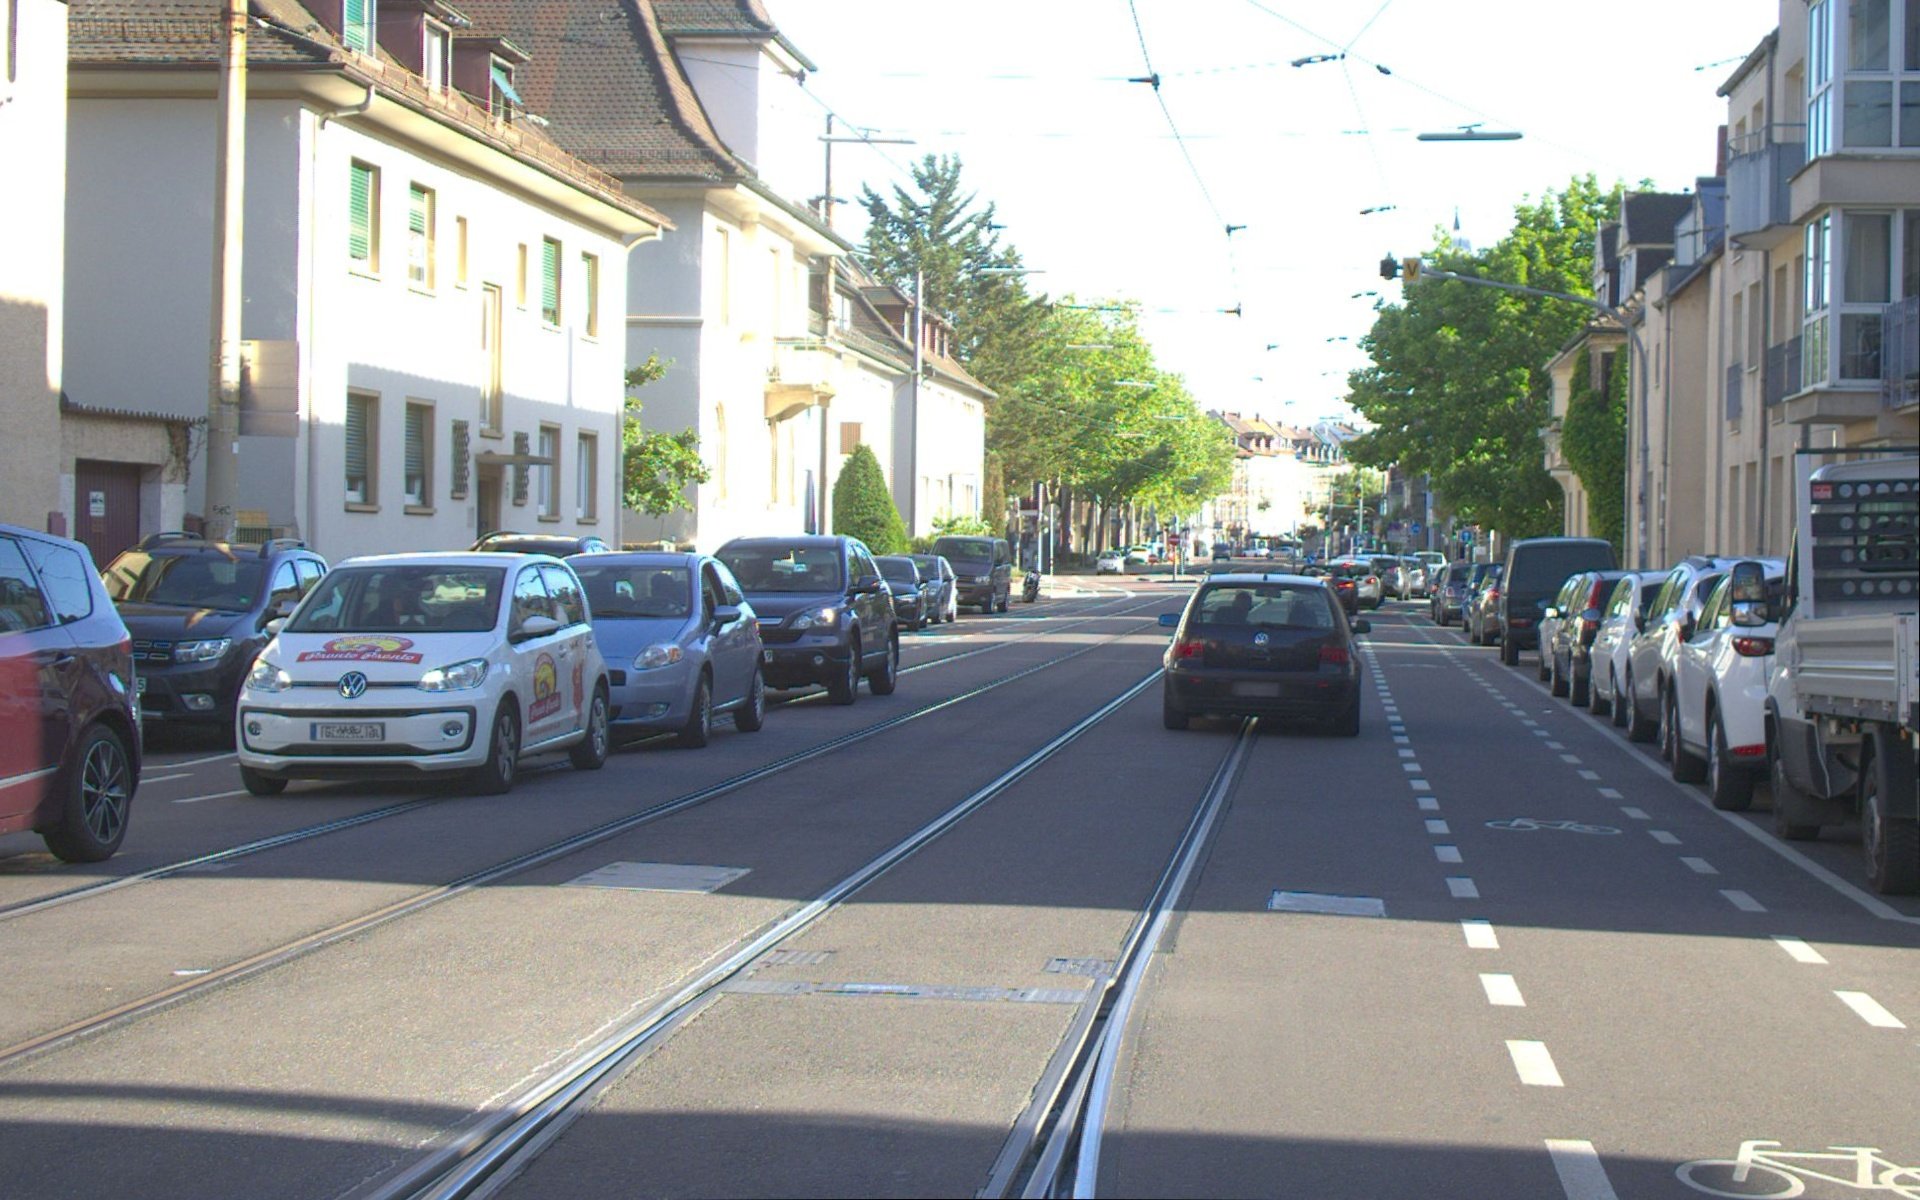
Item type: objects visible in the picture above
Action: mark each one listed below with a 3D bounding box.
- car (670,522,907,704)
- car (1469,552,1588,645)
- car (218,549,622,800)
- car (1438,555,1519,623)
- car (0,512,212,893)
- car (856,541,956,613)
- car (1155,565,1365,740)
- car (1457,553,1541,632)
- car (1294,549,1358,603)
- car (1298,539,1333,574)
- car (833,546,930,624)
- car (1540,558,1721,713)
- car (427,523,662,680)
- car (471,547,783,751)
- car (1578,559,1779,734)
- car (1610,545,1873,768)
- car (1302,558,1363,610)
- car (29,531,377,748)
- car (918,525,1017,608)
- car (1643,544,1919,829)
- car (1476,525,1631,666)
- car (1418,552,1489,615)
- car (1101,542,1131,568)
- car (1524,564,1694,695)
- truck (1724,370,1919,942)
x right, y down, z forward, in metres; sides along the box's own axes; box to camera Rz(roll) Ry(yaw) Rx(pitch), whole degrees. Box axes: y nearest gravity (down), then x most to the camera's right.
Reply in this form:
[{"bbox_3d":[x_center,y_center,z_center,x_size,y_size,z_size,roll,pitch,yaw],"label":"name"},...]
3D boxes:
[{"bbox_3d":[-1.654,0.095,34.602,1.704,1.699,4.363,1,1,6],"label":"car"},{"bbox_3d":[10.642,-0.063,64.617,1.744,1.593,4.433,3,1,4],"label":"car"},{"bbox_3d":[-3.327,0.409,21.820,1.583,1.456,3.612,0,1,7],"label":"car"},{"bbox_3d":[12.519,-0.277,83.142,1.602,1.520,3.549,3,1,4],"label":"car"},{"bbox_3d":[-4.918,0.433,14.559,1.739,1.605,4.712,0,1,10],"label":"car"},{"bbox_3d":[-1.160,-0.528,75.872,1.677,1.472,3.834,3,1,6],"label":"car"},{"bbox_3d":[2.745,0.416,30.964,1.716,1.398,4.005,2,1,6],"label":"car"},{"bbox_3d":[11.655,-0.189,74.410,1.457,1.593,3.294,3,1,4],"label":"car"},{"bbox_3d":[9.845,-0.659,92.254,1.635,1.367,3.756,1,1,7],"label":"car"},{"bbox_3d":[20.312,-2.513,196.699,1.787,1.853,4.000,4,1,4],"label":"car"},{"bbox_3d":[-1.550,-0.321,69.166,1.663,1.472,4.250,1,1,2],"label":"car"},{"bbox_3d":[7.434,0.352,38.370,1.554,1.552,3.652,3,1,5],"label":"car"},{"bbox_3d":[-4.709,-0.011,39.617,1.762,1.699,4.555,0,1,5],"label":"car"},{"bbox_3d":[-2.503,0.328,26.745,1.618,1.456,4.074,0,1,6],"label":"car"},{"bbox_3d":[7.069,0.416,34.068,1.497,1.552,3.364,3,1,5],"label":"car"},{"bbox_3d":[6.607,0.418,29.414,1.603,1.694,3.989,3,1,5],"label":"car"},{"bbox_3d":[11.037,-0.492,101.933,1.740,1.436,3.809,1,1,6],"label":"car"},{"bbox_3d":[-6.007,0.274,27.720,1.616,1.622,3.921,0,1,5],"label":"car"},{"bbox_3d":[0.233,-0.894,89.610,1.906,2.007,4.948,3,1,7],"label":"car"},{"bbox_3d":[5.866,0.520,23.905,1.739,1.740,4.254,3,1,6],"label":"car"},{"bbox_3d":[9.082,-0.104,52.916,1.906,1.980,4.562,3,1,5],"label":"car"},{"bbox_3d":[13.104,-0.448,91.377,1.666,1.558,3.770,2,1,6],"label":"car"},{"bbox_3d":[8.861,-2.565,195.922,1.575,1.472,3.441,0,1,0],"label":"car"},{"bbox_3d":[8.257,0.337,44.009,1.677,1.486,4.172,3,1,5],"label":"car"},{"bbox_3d":[5.485,0.207,17.784,2.296,2.469,6.145,1,1,6],"label":"truck"}]
